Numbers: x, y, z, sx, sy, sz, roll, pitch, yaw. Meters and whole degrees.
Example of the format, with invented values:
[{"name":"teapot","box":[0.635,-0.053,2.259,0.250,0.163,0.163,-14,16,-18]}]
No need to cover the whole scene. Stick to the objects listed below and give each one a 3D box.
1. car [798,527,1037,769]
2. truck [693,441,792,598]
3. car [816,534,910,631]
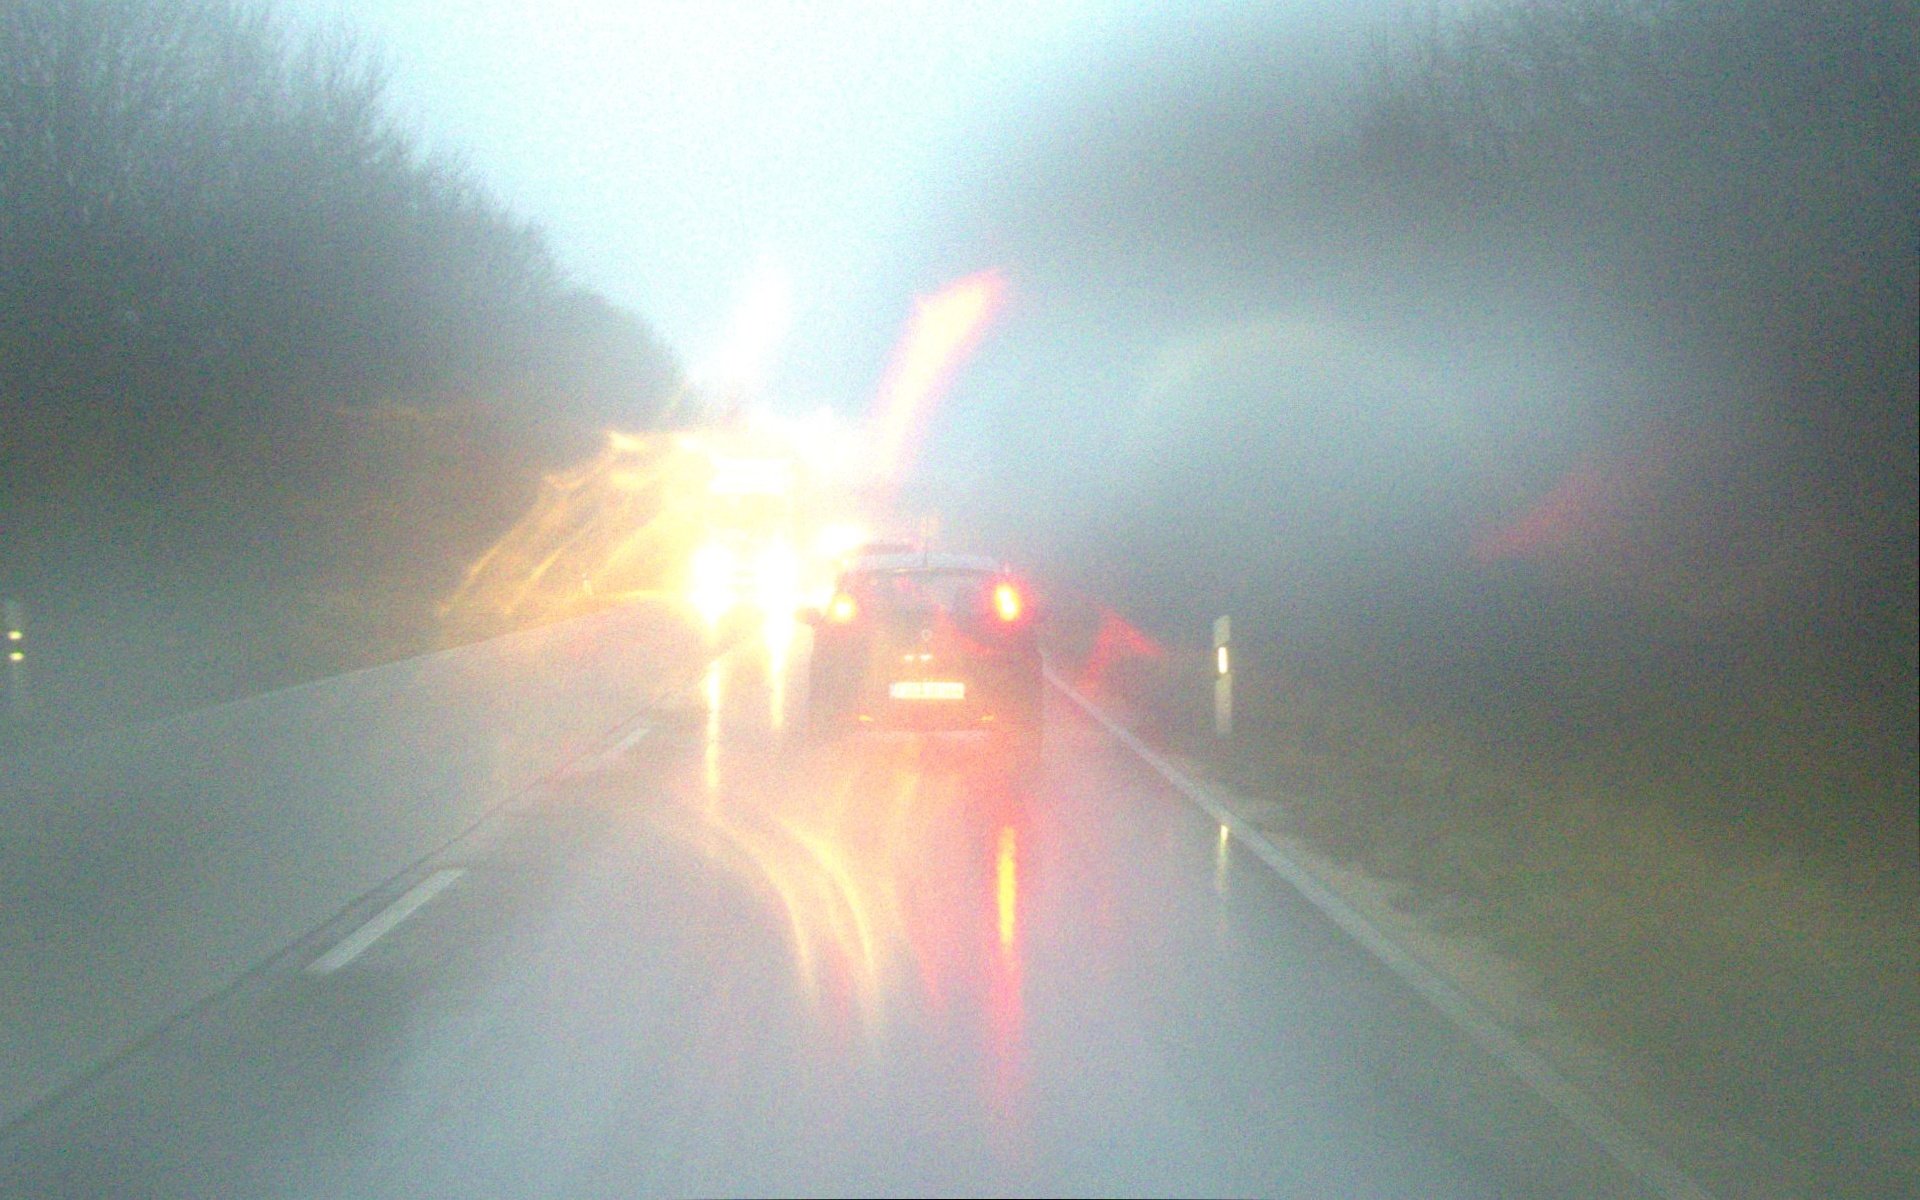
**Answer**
[{"name":"car","box":[-0.318,0.308,25.606,1.648,1.666,3.514,0,1,-1]},{"name":"truck","box":[-6.292,-2.326,100.087,2.642,4.401,5.554,0,1,-1]},{"name":"car","box":[-1.852,-0.357,65.661,1.733,1.773,4.000,0,1,-1]}]
